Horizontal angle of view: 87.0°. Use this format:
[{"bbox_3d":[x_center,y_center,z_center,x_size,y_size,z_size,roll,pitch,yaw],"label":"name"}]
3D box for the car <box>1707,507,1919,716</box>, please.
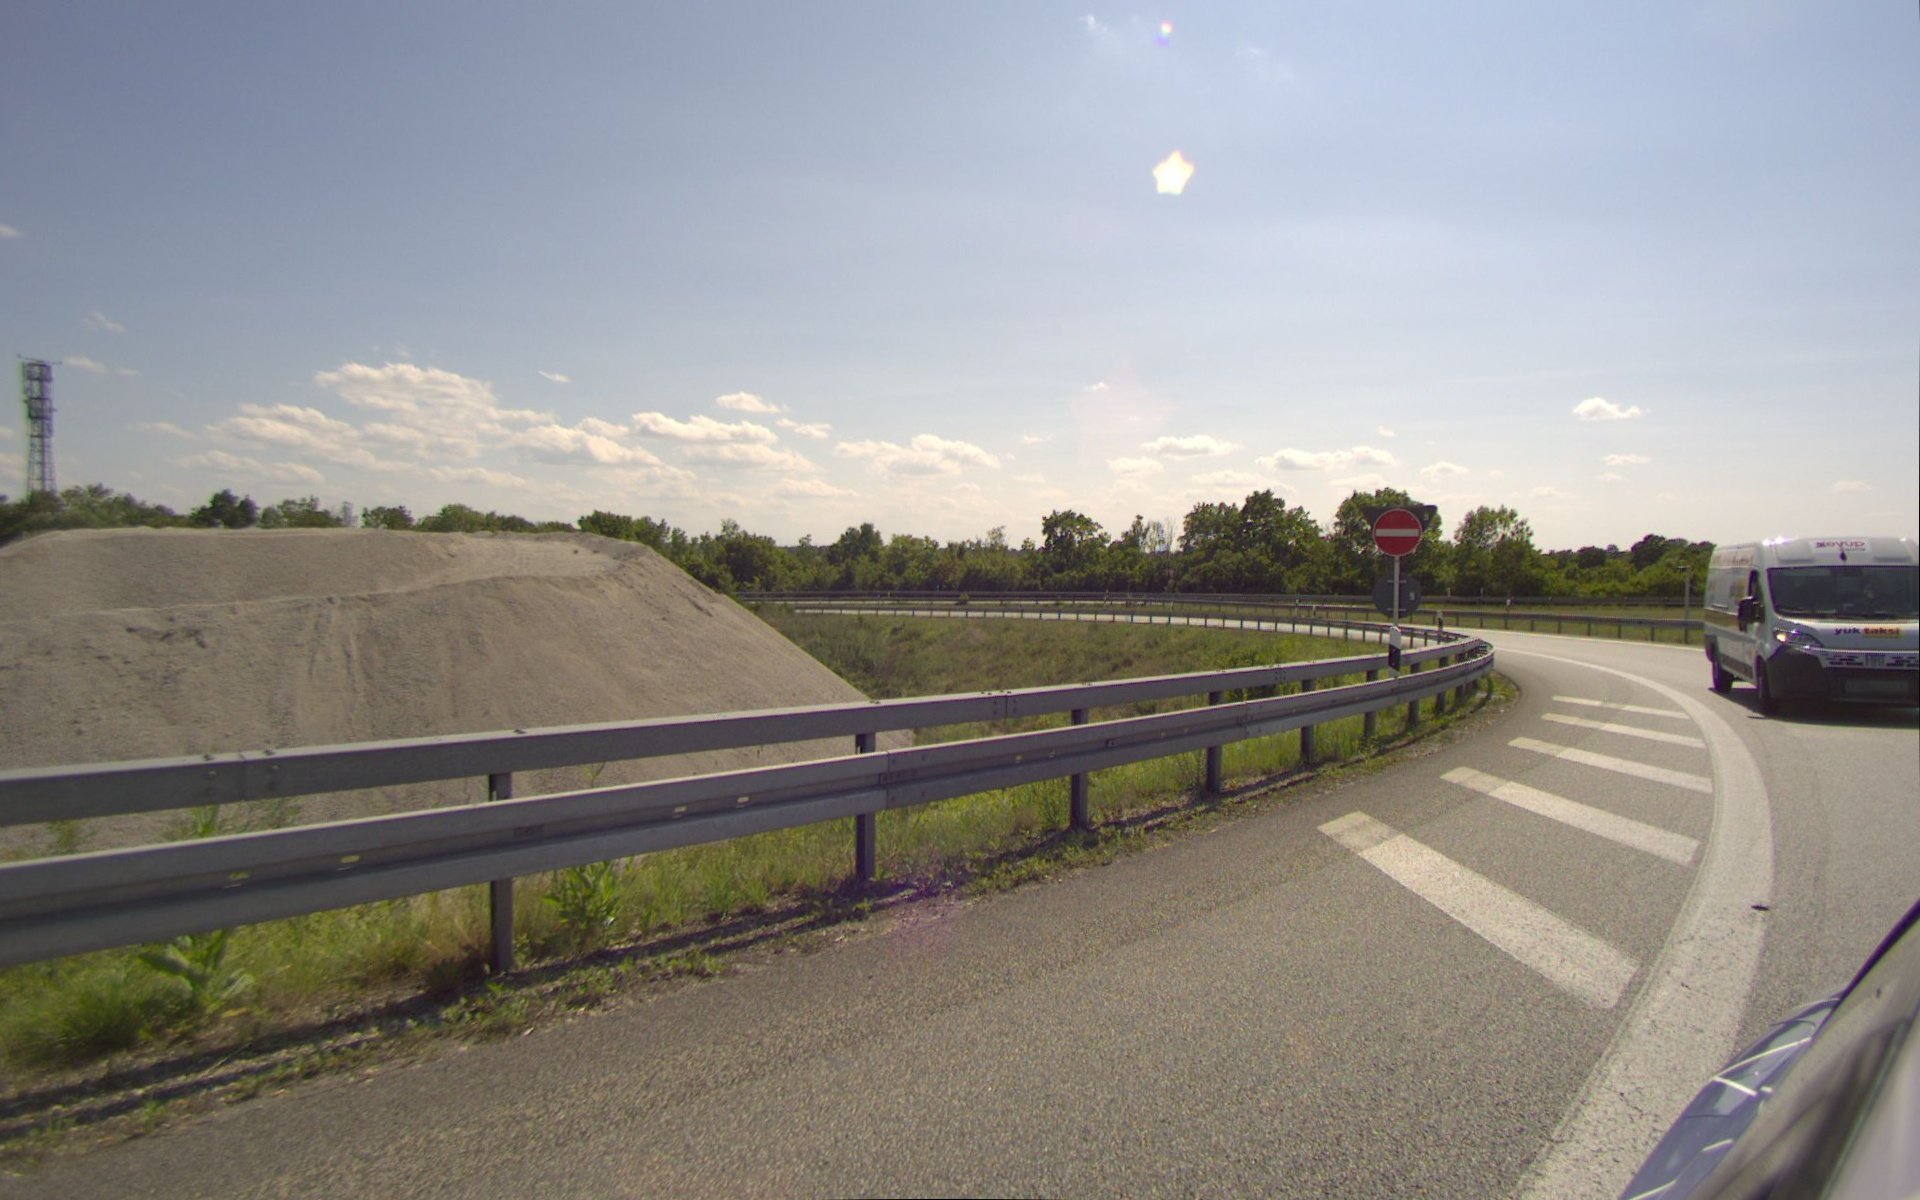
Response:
[{"bbox_3d":[12.996,0.161,15.280,2.071,2.556,6.168,-1,-1,31],"label":"car"}]
